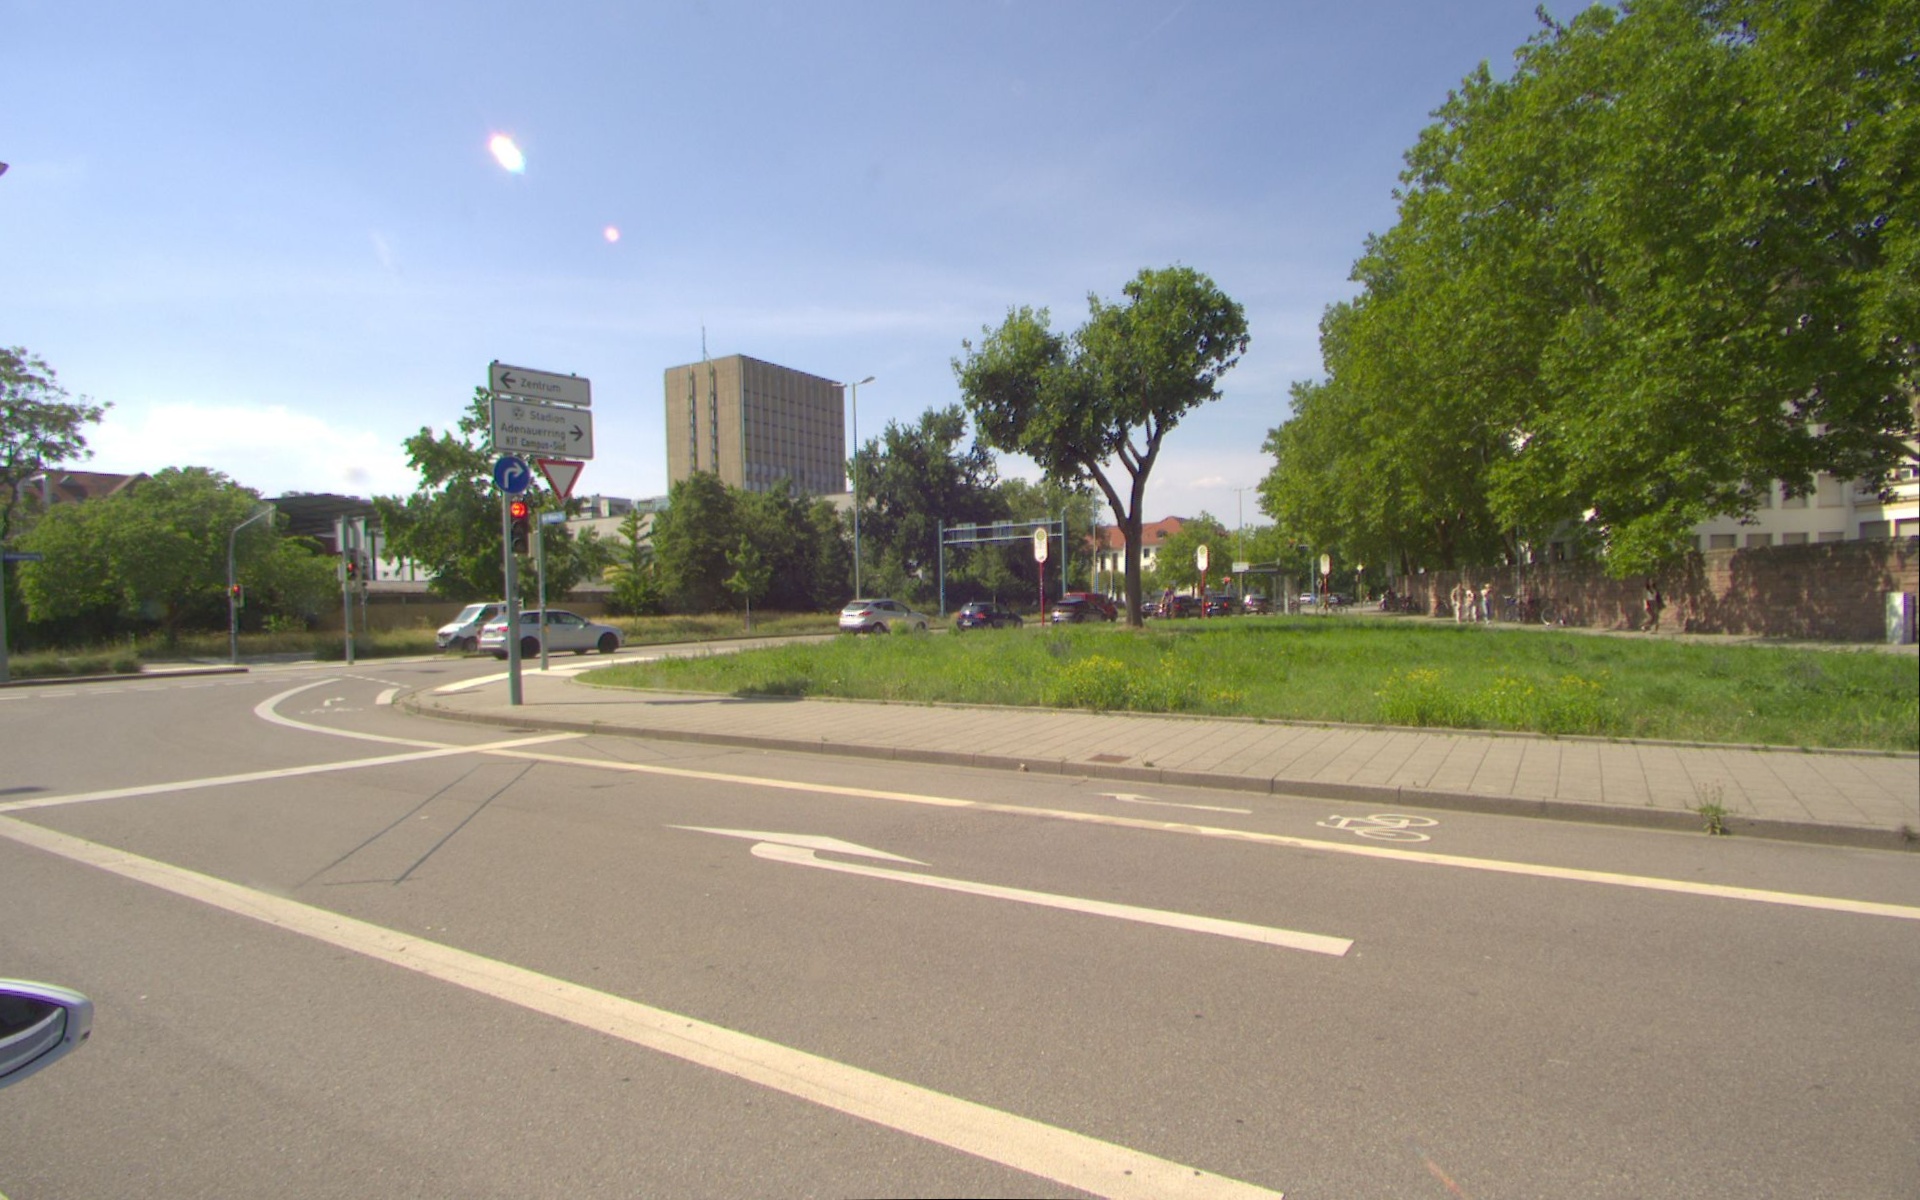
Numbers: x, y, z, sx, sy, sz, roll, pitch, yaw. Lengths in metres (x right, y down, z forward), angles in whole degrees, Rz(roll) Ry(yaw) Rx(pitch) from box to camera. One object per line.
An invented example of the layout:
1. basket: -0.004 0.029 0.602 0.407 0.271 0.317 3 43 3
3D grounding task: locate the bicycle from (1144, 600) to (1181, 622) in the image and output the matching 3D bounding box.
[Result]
1. bicycle: 12.391 0.675 61.191 0.838 1.233 3.462 -1 -2 37

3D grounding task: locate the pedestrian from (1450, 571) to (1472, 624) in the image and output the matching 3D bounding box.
1. pedestrian: 19.739 -0.099 39.467 0.513 2.040 0.596 -2 1 -9

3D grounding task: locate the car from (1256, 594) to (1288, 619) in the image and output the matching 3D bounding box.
1. car: 27.498 0.600 88.148 1.970 2.039 3.984 -1 -2 29

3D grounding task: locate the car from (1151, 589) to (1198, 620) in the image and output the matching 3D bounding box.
1. car: 14.651 0.297 68.164 1.970 2.041 3.980 -1 1 30

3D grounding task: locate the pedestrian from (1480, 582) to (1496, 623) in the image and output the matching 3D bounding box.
1. pedestrian: 21.061 0.094 39.945 0.515 1.599 0.701 -1 1 23

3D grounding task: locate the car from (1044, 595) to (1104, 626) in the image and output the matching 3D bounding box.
1. car: 6.501 0.571 56.739 1.564 1.612 3.972 -1 1 37

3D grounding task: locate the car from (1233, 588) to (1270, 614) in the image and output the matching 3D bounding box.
1. car: 24.038 0.054 82.510 1.970 2.041 3.980 -1 1 30

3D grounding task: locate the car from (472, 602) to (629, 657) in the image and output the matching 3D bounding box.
1. car: -12.244 0.847 30.169 1.565 1.439 4.140 -1 1 39

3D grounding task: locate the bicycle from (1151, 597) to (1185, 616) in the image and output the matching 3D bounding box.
1. bicycle: 10.510 0.315 50.500 1.912 0.899 0.679 -2 1 -42

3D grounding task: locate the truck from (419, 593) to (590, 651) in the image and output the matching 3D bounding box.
1. truck: -20.970 0.935 46.520 2.379 2.387 7.007 -1 1 33

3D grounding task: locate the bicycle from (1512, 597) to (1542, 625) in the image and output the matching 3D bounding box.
1. bicycle: 21.820 0.405 38.552 0.439 1.047 1.447 -1 1 6

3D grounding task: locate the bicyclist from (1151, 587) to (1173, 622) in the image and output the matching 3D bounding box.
1. bicyclist: 12.337 0.287 61.141 0.769 2.039 1.265 -1 -2 38

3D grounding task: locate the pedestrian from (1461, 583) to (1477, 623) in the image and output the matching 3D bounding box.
1. pedestrian: 20.436 0.127 40.219 0.515 1.599 0.701 -1 1 23

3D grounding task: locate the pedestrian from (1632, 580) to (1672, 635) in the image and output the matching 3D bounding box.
1. pedestrian: 20.336 0.211 29.458 0.493 1.569 0.913 -1 1 -4

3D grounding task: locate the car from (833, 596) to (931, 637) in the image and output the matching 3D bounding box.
1. car: -3.318 0.676 43.056 1.692 1.640 4.180 0 1 42

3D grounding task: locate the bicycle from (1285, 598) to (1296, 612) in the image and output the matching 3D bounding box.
1. bicycle: 27.044 0.407 81.870 0.552 1.066 1.318 -1 1 30

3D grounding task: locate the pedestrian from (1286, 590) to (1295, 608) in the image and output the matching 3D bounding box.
1. pedestrian: 27.026 -0.120 81.853 0.552 1.458 0.729 0 1 30

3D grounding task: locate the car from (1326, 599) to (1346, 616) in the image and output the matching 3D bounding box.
1. car: 46.261 0.938 123.093 1.968 2.039 3.987 -1 -2 26

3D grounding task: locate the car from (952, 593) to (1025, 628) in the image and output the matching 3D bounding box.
1. car: 1.438 0.491 48.937 1.564 1.612 3.972 -1 1 37

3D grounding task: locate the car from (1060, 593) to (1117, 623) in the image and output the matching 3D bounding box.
1. car: 8.362 0.499 64.819 1.950 1.821 4.587 -1 1 31

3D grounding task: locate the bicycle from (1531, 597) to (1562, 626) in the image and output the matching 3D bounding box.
1. bicycle: 21.661 0.413 37.013 0.439 1.047 1.447 -1 1 6

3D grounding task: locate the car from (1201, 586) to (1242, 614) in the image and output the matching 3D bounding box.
1. car: 19.684 -0.019 75.227 1.970 2.041 3.980 -1 1 30

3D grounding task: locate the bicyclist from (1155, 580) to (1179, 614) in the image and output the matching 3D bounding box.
1. bicyclist: 10.432 -0.154 50.457 1.068 1.659 0.486 -1 1 29
